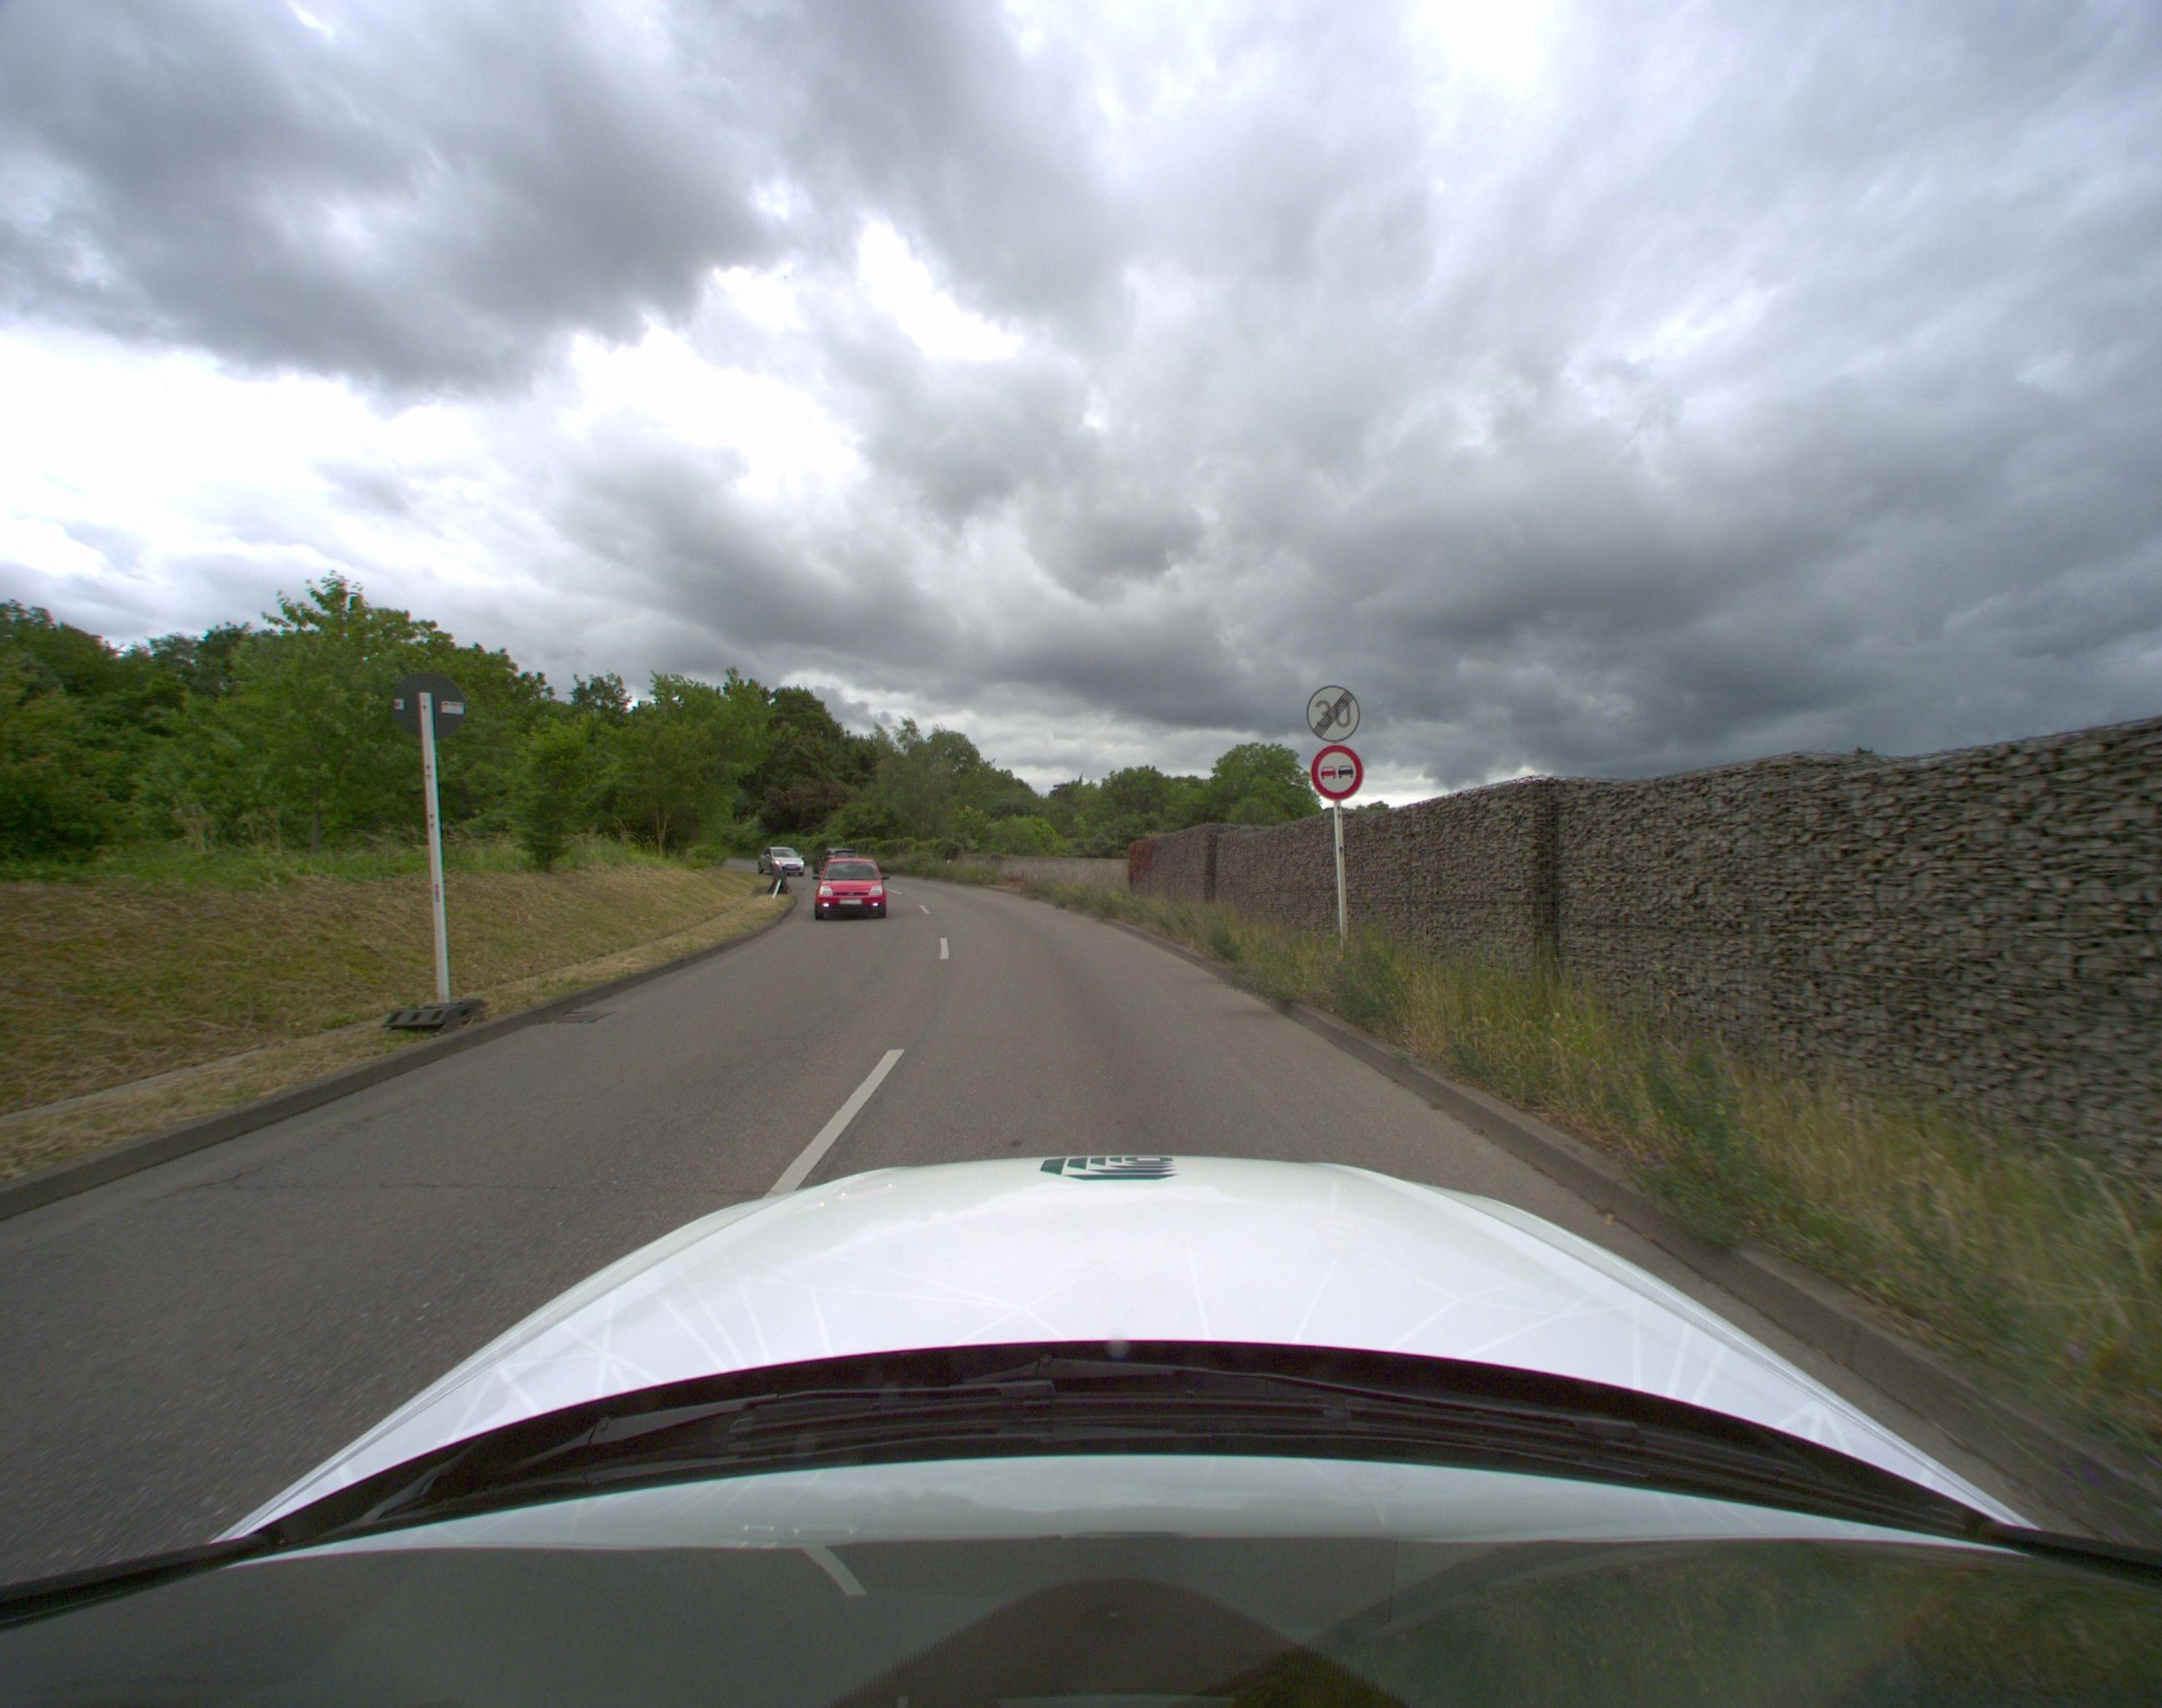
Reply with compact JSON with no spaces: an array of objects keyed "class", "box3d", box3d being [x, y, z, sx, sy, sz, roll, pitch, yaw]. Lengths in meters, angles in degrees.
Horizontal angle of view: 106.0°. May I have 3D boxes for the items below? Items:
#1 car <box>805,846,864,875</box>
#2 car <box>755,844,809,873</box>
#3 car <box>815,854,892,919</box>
[{"class":"car","box3d":[-13.775,0.342,45.355,1.854,1.483,3.955,-2,1,-37]},{"class":"car","box3d":[-16.084,0.219,43.700,1.787,1.495,3.872,0,0,-34]},{"class":"car","box3d":[-5.877,0.758,20.999,1.745,1.416,3.733,0,1,-16]}]
